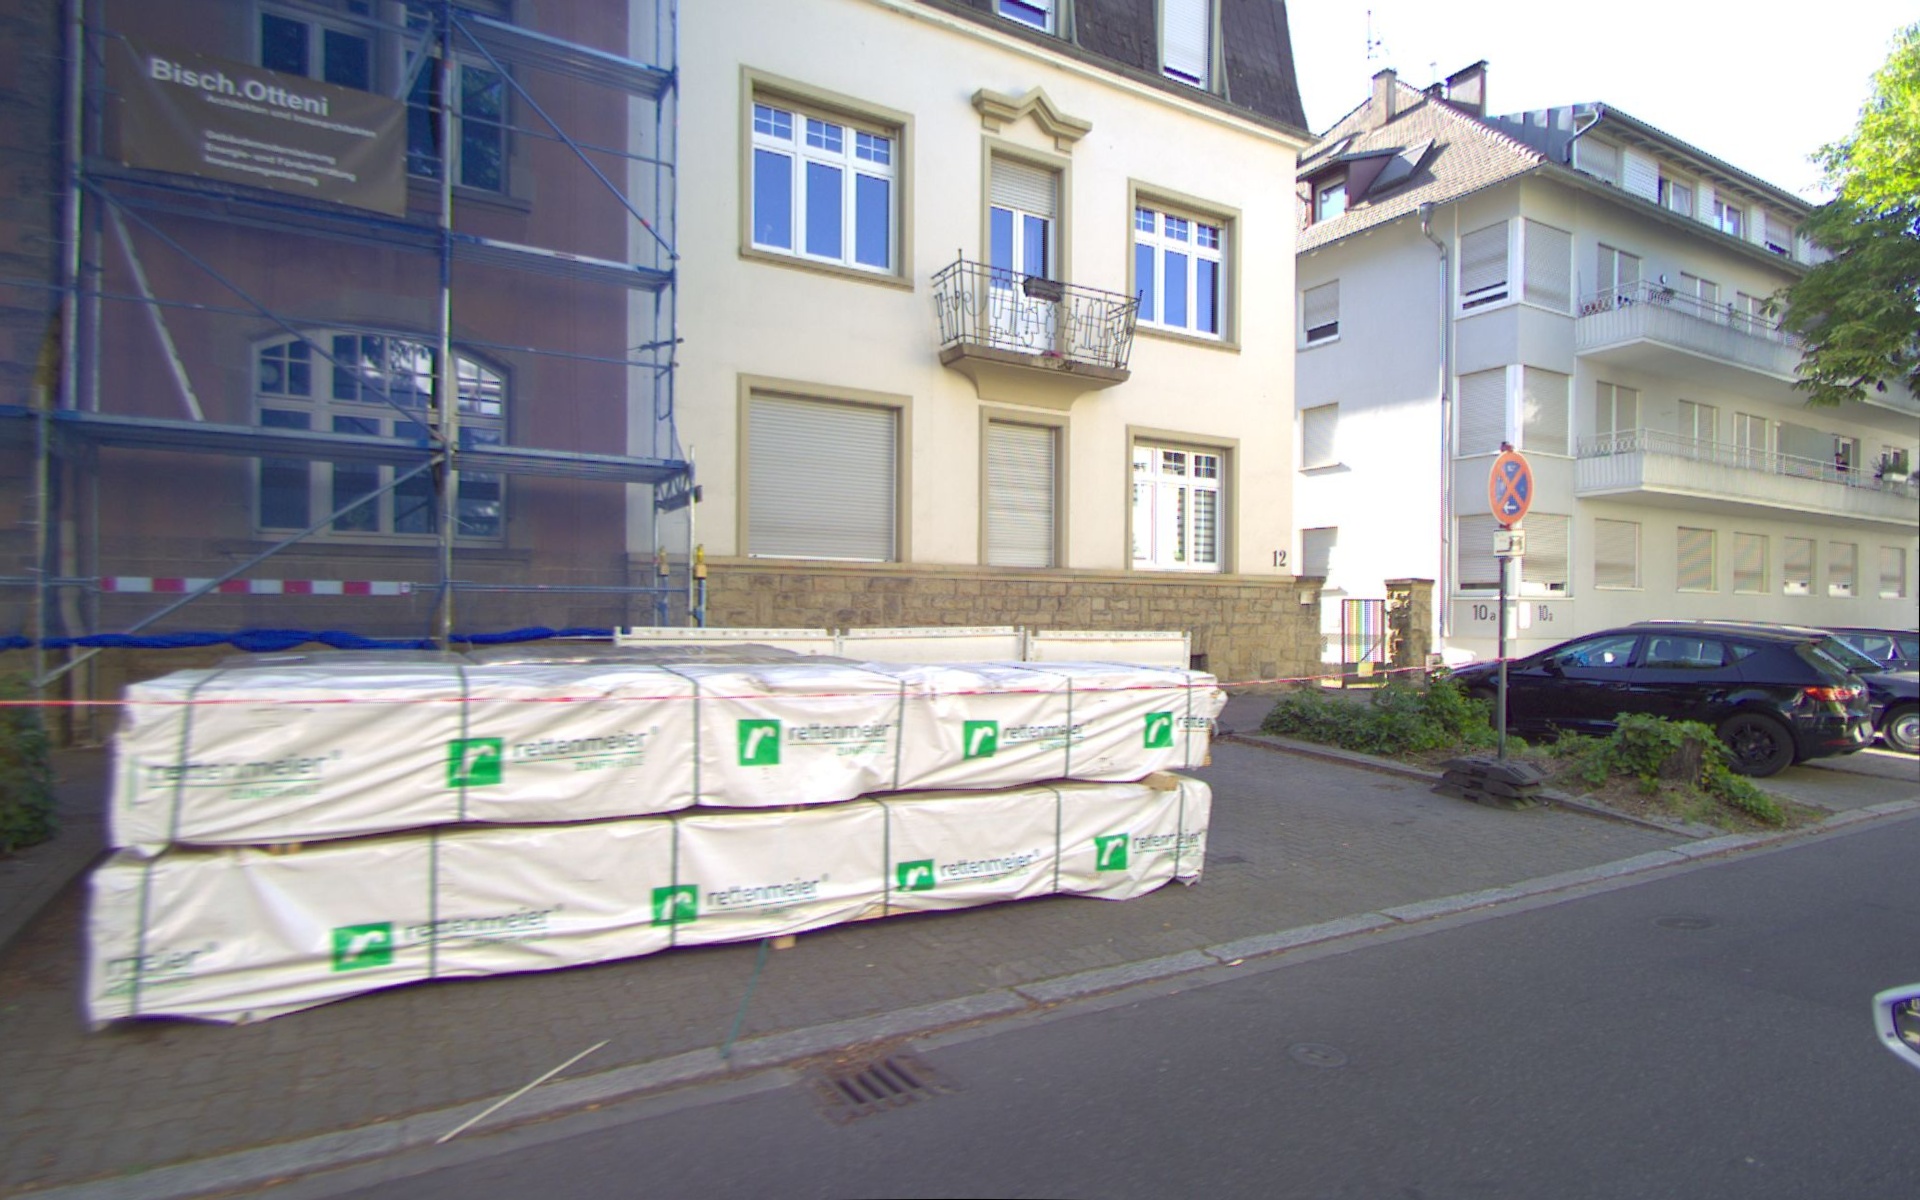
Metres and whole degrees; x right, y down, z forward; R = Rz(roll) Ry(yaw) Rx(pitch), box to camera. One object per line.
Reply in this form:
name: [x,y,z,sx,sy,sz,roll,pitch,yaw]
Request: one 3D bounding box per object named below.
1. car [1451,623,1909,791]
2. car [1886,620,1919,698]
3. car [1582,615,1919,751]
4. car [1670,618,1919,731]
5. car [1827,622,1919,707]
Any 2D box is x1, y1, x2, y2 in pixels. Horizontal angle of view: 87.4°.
car: [7.856,1.037,11.266,1.817,1.534,3.841,1,-2,-38]
car: [19.891,1.190,18.636,1.689,1.482,3.629,1,1,-28]
car: [11.367,1.032,13.746,1.817,1.628,4.553,1,-1,-38]
car: [13.428,1.073,15.101,1.693,1.460,4.166,1,0,-31]
car: [17.754,1.190,17.662,1.693,1.439,3.455,2,0,-35]
